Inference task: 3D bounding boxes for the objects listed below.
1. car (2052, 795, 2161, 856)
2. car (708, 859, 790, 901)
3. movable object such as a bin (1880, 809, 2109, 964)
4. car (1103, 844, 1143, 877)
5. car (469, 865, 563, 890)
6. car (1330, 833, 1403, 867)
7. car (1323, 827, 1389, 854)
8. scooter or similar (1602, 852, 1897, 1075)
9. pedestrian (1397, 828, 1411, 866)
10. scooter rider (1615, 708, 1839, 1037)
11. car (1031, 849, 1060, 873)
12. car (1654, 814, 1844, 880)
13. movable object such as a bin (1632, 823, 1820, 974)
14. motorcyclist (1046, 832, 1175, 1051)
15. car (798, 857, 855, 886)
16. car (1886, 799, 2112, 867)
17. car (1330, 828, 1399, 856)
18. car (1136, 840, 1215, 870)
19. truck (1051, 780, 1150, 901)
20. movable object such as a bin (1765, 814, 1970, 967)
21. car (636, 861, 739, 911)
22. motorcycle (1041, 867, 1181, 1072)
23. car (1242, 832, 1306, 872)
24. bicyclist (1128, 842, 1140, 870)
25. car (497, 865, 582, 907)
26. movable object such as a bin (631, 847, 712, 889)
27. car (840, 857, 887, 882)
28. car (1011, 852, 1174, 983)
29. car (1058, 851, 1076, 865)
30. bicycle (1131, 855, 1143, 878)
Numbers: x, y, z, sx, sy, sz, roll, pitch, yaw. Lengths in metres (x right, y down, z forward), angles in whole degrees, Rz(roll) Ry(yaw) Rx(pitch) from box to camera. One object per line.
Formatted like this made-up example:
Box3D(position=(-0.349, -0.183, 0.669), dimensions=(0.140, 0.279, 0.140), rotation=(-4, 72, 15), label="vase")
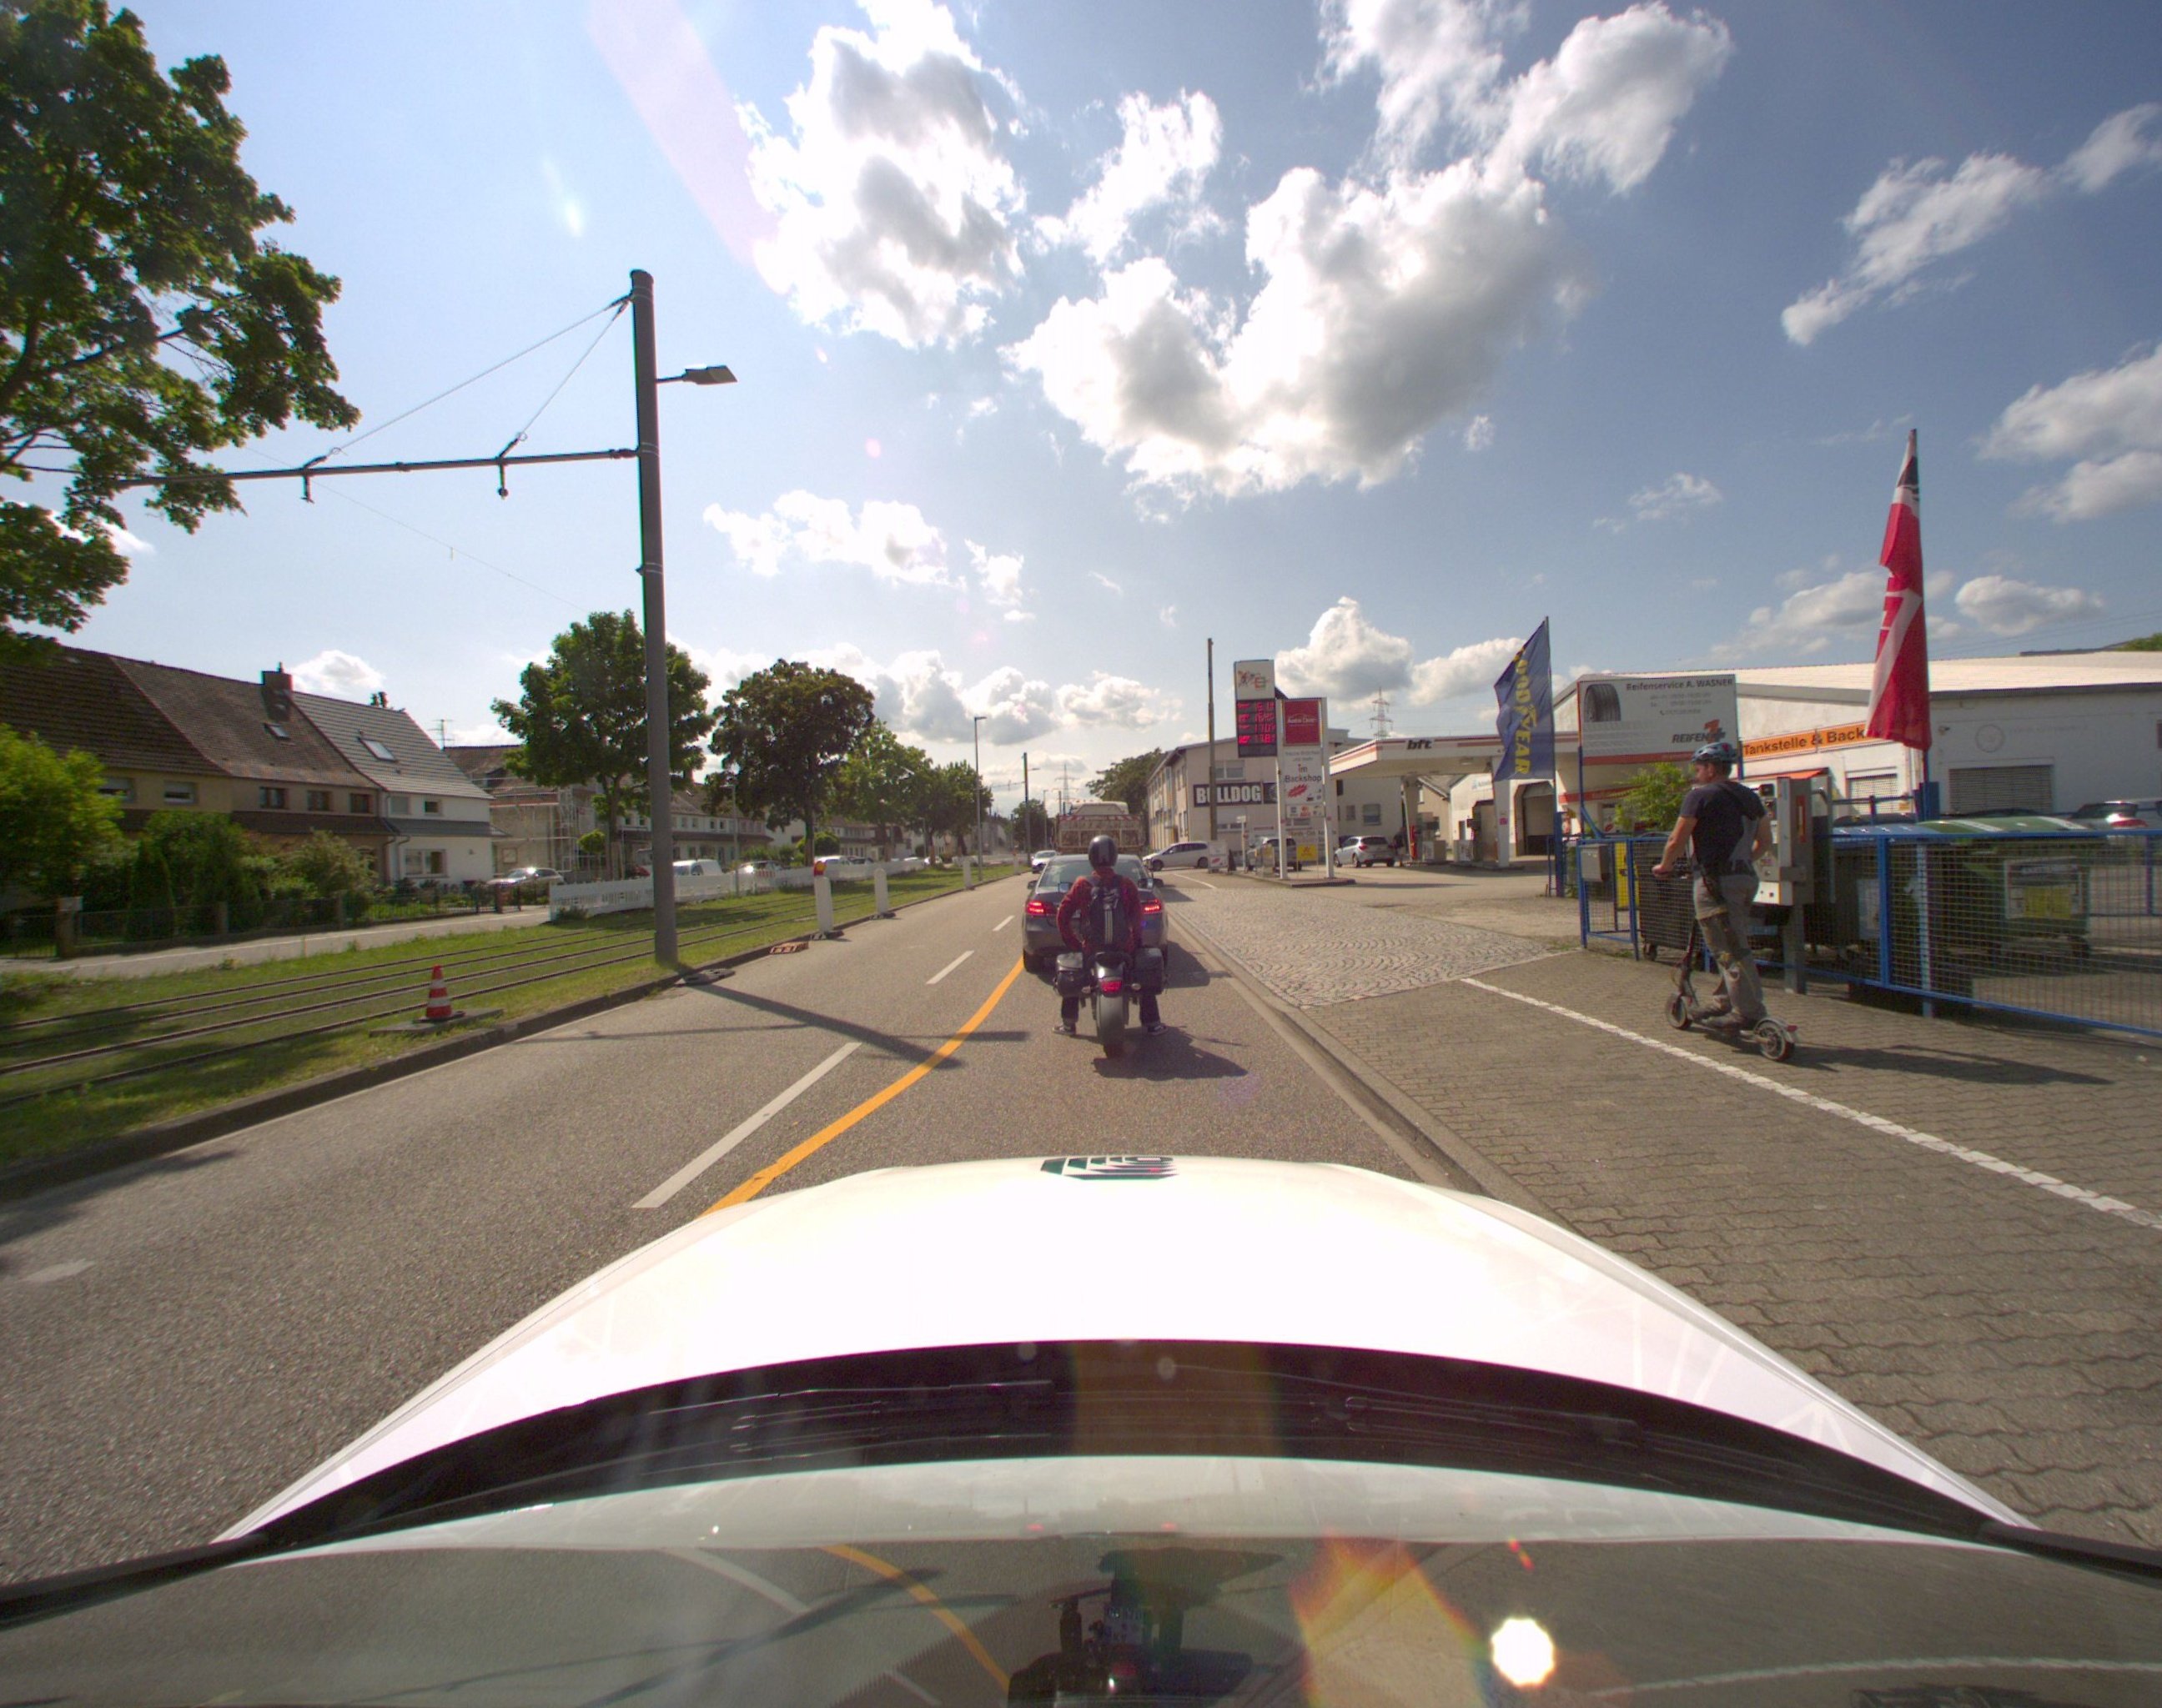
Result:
Box3D(position=(26.322, -0.751, 19.526), dimensions=(3.993, 1.388, 1.613), rotation=(-3, 0, 2), label="car")
Box3D(position=(-15.388, 1.155, 37.966), dimensions=(1.986, 1.750, 4.001), rotation=(-3, 0, 1), label="car")
Box3D(position=(9.449, 0.319, 8.475), dimensions=(1.318, 1.444, 0.953), rotation=(-3, 0, -6), label="movable object such as a bin")
Box3D(position=(2.052, 0.289, 40.453), dimensions=(1.815, 1.464, 4.002), rotation=(-2, 0, 2), label="car")
Box3D(position=(-27.682, 1.123, 40.067), dimensions=(1.678, 1.052, 3.983), rotation=(-3, 0, 3), label="car")
Box3D(position=(13.436, -0.182, 38.589), dimensions=(1.953, 1.420, 3.999), rotation=(-3, 0, -1), label="car")
Box3D(position=(19.589, -0.952, 58.150), dimensions=(3.973, 1.648, 1.966), rotation=(-3, 0, 0), label="car")
Box3D(position=(4.208, 0.608, 5.307), dimensions=(0.538, 1.195, 1.611), rotation=(-4, 0, 1), label="scooter or similar")
Box3D(position=(14.551, -0.305, 36.696), dimensions=(0.395, 1.689, 0.486), rotation=(-3, -1, 2), label="pedestrian")
Box3D(position=(4.223, 0.113, 5.395), dimensions=(0.714, 1.963, 0.785), rotation=(-5, 0, 1), label="scooter rider")
Box3D(position=(-2.267, 0.421, 53.302), dimensions=(1.650, 1.447, 4.302), rotation=(-3, 1, 0), label="car")
Box3D(position=(16.406, -0.163, 20.111), dimensions=(3.308, 1.360, 1.612), rotation=(-3, 0, 1), label="car")
Box3D(position=(6.760, 0.448, 8.600), dimensions=(1.251, 1.444, 0.824), rotation=(-3, 0, 1), label="movable object such as a bin")
Box3D(position=(0.234, 0.646, 6.616), dimensions=(0.936, 1.615, 1.205), rotation=(0, 0, 1), label="motorcyclist")
Box3D(position=(-15.368, 1.021, 49.347), dimensions=(1.986, 1.606, 4.001), rotation=(-3, 0, 1), label="car")
Box3D(position=(21.813, -0.478, 19.454), dimensions=(3.483, 1.360, 1.612), rotation=(-3, 0, 1), label="car")
Box3D(position=(19.337, -0.828, 55.604), dimensions=(3.973, 1.648, 1.966), rotation=(-3, 0, 0), label="car")
Box3D(position=(5.632, 0.072, 48.669), dimensions=(4.326, 1.551, 1.945), rotation=(-3, 0, -7), label="car")
Box3D(position=(0.729, -0.358, 27.462), dimensions=(2.600, 3.256, 9.186), rotation=(-3, 0, 2), label="truck")
Box3D(position=(8.126, 0.360, 8.469), dimensions=(1.251, 1.444, 0.824), rotation=(-3, 0, 1), label="movable object such as a bin")
Box3D(position=(-15.621, 1.231, 32.590), dimensions=(1.986, 1.750, 4.001), rotation=(-3, 0, 1), label="car")
Box3D(position=(0.237, 0.798, 6.797), dimensions=(0.936, 1.320, 2.646), rotation=(0, 0, 1), label="motorcycle")
Box3D(position=(8.920, -0.090, 37.942), dimensions=(1.953, 1.648, 3.999), rotation=(-3, 0, -1), label="car")
Box3D(position=(3.363, 0.138, 51.599), dimensions=(0.669, 1.744, 0.814), rotation=(-2, 0, 1), label="bicyclist")
Box3D(position=(-24.518, 1.405, 36.993), dimensions=(1.678, 1.721, 3.031), rotation=(-3, 0, 1), label="car")
Box3D(position=(-26.265, 0.867, 52.392), dimensions=(4.352, 2.449, 1.776), rotation=(-3, 0, -21), label="movable object such as a bin")
Box3D(position=(-15.168, 1.042, 56.992), dimensions=(1.986, 1.606, 4.001), rotation=(-3, 0, 1), label="car")
Box3D(position=(0.185, 0.718, 11.274), dimensions=(1.815, 1.424, 4.001), rotation=(-2, 0, 1), label="car")
Box3D(position=(-1.542, 0.459, 92.757), dimensions=(1.840, 1.386, 4.345), rotation=(-3, 0, 1), label="car")
Box3D(position=(3.599, 0.801, 52.019), dimensions=(0.689, 1.361, 2.421), rotation=(-3, 0, 4), label="bicycle")
